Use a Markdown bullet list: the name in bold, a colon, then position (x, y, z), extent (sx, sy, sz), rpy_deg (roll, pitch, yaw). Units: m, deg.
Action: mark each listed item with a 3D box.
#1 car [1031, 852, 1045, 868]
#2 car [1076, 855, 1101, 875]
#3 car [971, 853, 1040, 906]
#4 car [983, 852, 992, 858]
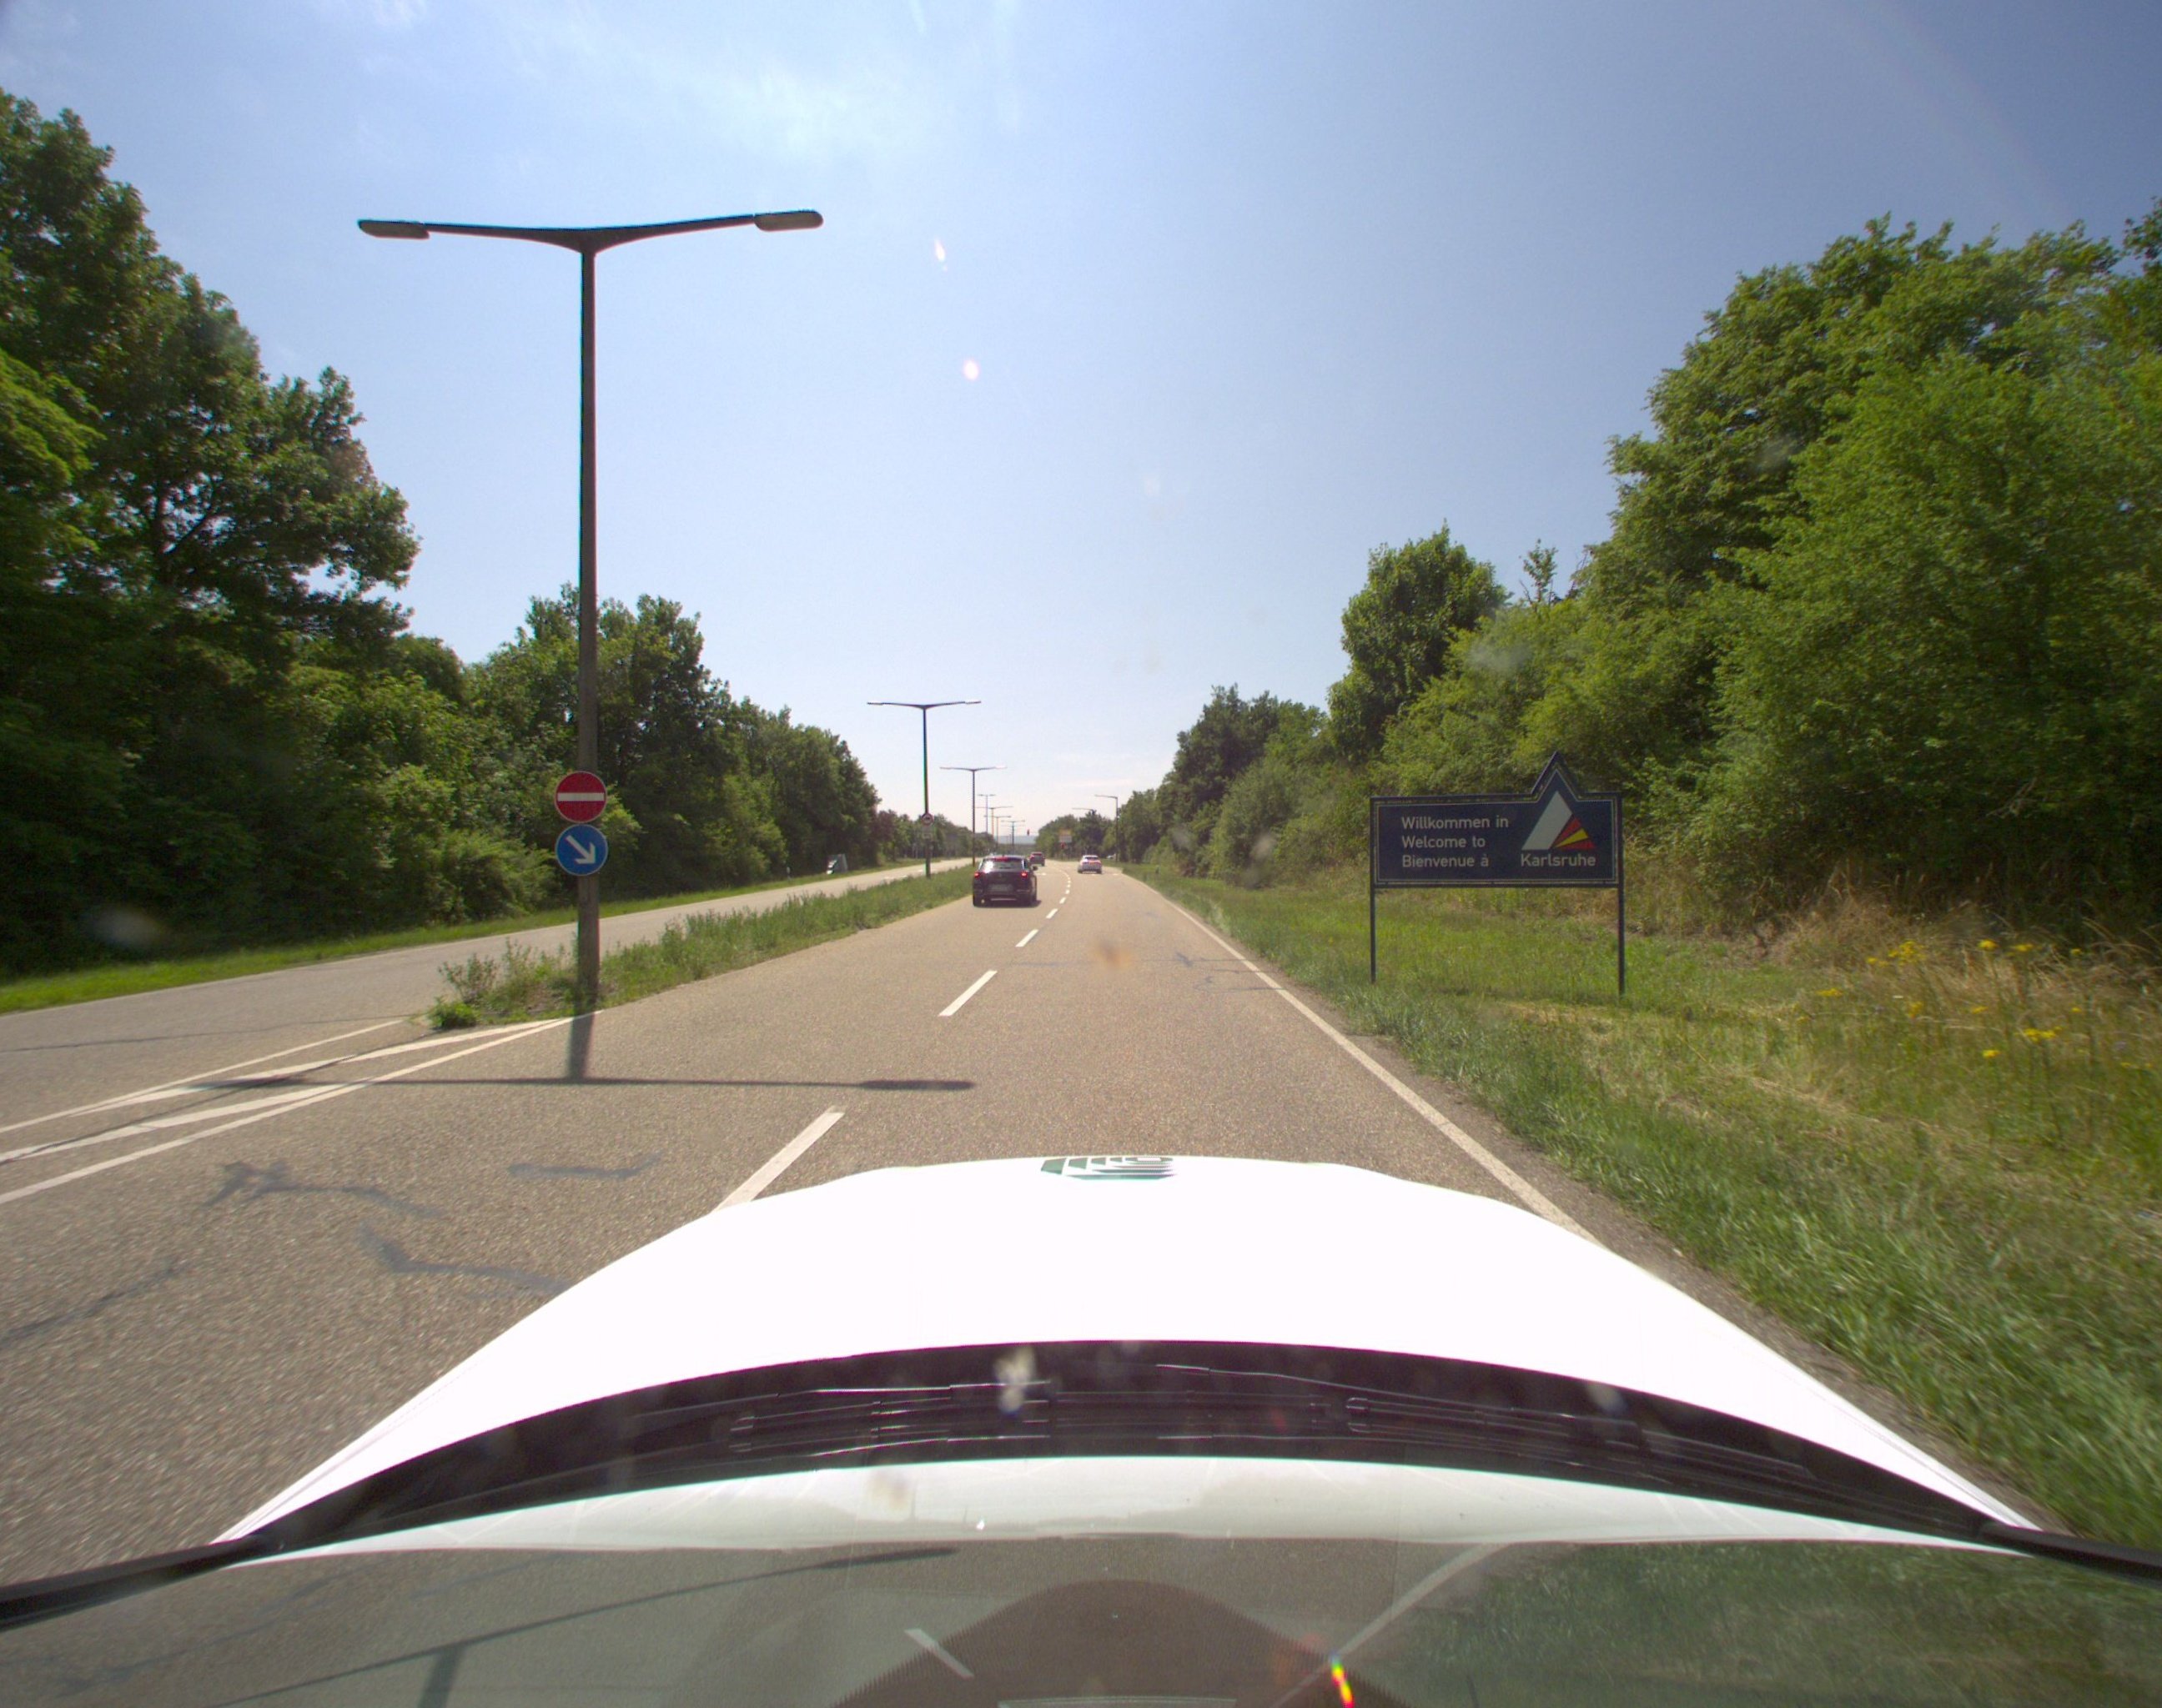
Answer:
- **car**: position (-5.387, 0.717, 101.404), extent (1.752, 1.929, 3.994), rpy_deg (0, 0, -4)
- **car**: position (0.598, 0.855, 65.541), extent (1.793, 1.583, 3.996), rpy_deg (0, 0, -3)
- **car**: position (-2.318, 0.755, 25.929), extent (1.749, 1.556, 4.000), rpy_deg (0, 0, 1)
- **car**: position (-22.753, 0.173, 198.970), extent (1.823, 1.519, 3.997), rpy_deg (0, 0, -2)
